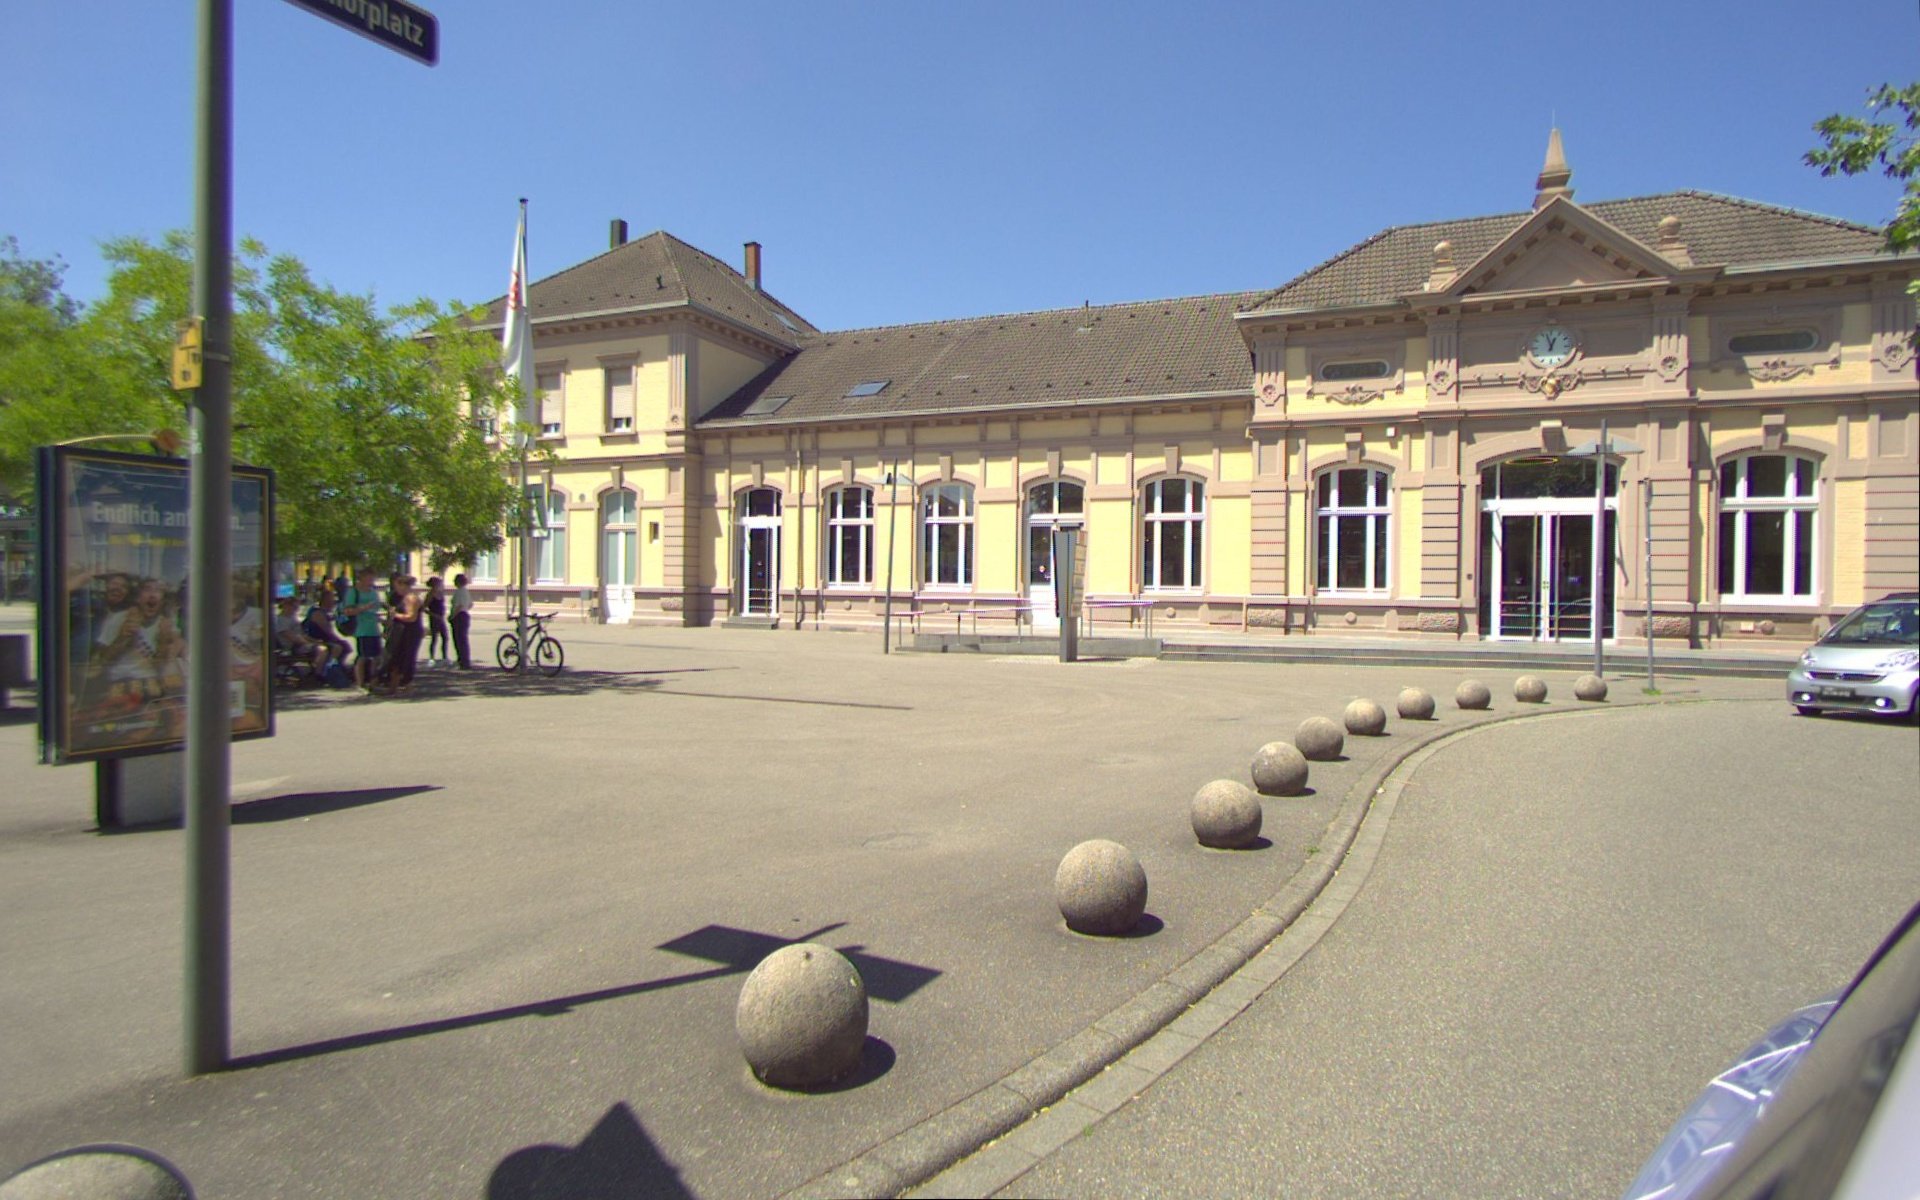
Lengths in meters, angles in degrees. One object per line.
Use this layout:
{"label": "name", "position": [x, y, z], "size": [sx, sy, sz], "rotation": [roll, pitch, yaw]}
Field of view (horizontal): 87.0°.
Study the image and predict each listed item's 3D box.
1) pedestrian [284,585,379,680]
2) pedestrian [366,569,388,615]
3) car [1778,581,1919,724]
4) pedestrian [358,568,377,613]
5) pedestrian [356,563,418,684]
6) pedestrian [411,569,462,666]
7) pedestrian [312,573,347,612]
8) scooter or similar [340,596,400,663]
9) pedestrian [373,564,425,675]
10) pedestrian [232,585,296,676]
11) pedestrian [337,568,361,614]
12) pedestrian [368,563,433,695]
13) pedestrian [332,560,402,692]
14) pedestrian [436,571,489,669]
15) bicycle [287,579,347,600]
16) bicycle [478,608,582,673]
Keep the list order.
{"label": "pedestrian", "position": [-9.627, 0.478, 15.541], "size": [0.925, 1.403, 0.914], "rotation": [1, 0, -6]}
{"label": "pedestrian", "position": [-23.460, -0.339, 40.707], "size": [0.594, 1.832, 0.621], "rotation": [1, 0, 44]}
{"label": "car", "position": [12.153, 0.597, 12.530], "size": [3.041, 1.613, 1.605], "rotation": [1, 0, -13]}
{"label": "pedestrian", "position": [-24.186, -0.383, 41.318], "size": [0.497, 1.832, 0.543], "rotation": [1, 0, 44]}
{"label": "pedestrian", "position": [-8.536, 0.344, 15.088], "size": [0.588, 1.762, 0.585], "rotation": [1, 0, -1]}
{"label": "pedestrian", "position": [-9.450, 0.305, 18.280], "size": [0.578, 1.706, 0.553], "rotation": [1, 0, 11]}
{"label": "pedestrian", "position": [-26.492, -0.301, 42.547], "size": [0.846, 1.610, 0.919], "rotation": [1, 0, 21]}
{"label": "scooter or similar", "position": [-10.604, 0.512, 18.206], "size": [0.290, 1.153, 1.023], "rotation": [0, 0, 15]}
{"label": "pedestrian", "position": [-9.039, 0.314, 16.323], "size": [0.559, 1.762, 0.513], "rotation": [1, 0, -6]}
{"label": "pedestrian", "position": [-10.815, 0.460, 15.748], "size": [0.588, 1.381, 0.600], "rotation": [1, 0, -5]}
{"label": "pedestrian", "position": [-24.302, -0.356, 40.278], "size": [0.630, 1.832, 0.679], "rotation": [1, 0, 45]}
{"label": "pedestrian", "position": [-7.630, 0.386, 13.816], "size": [0.537, 1.762, 0.628], "rotation": [1, 0, -2]}
{"label": "pedestrian", "position": [-8.229, 0.349, 14.058], "size": [0.574, 1.786, 0.694], "rotation": [1, 0, -3]}
{"label": "pedestrian", "position": [-8.857, 0.343, 18.029], "size": [0.581, 1.706, 0.617], "rotation": [1, 0, 11]}
{"label": "bicycle", "position": [-35.258, -0.569, 55.560], "size": [0.955, 1.017, 2.775], "rotation": [0, -2, 21]}
{"label": "bicycle", "position": [-7.504, 0.685, 17.647], "size": [1.925, 1.073, 0.418], "rotation": [0, 0, 22]}
